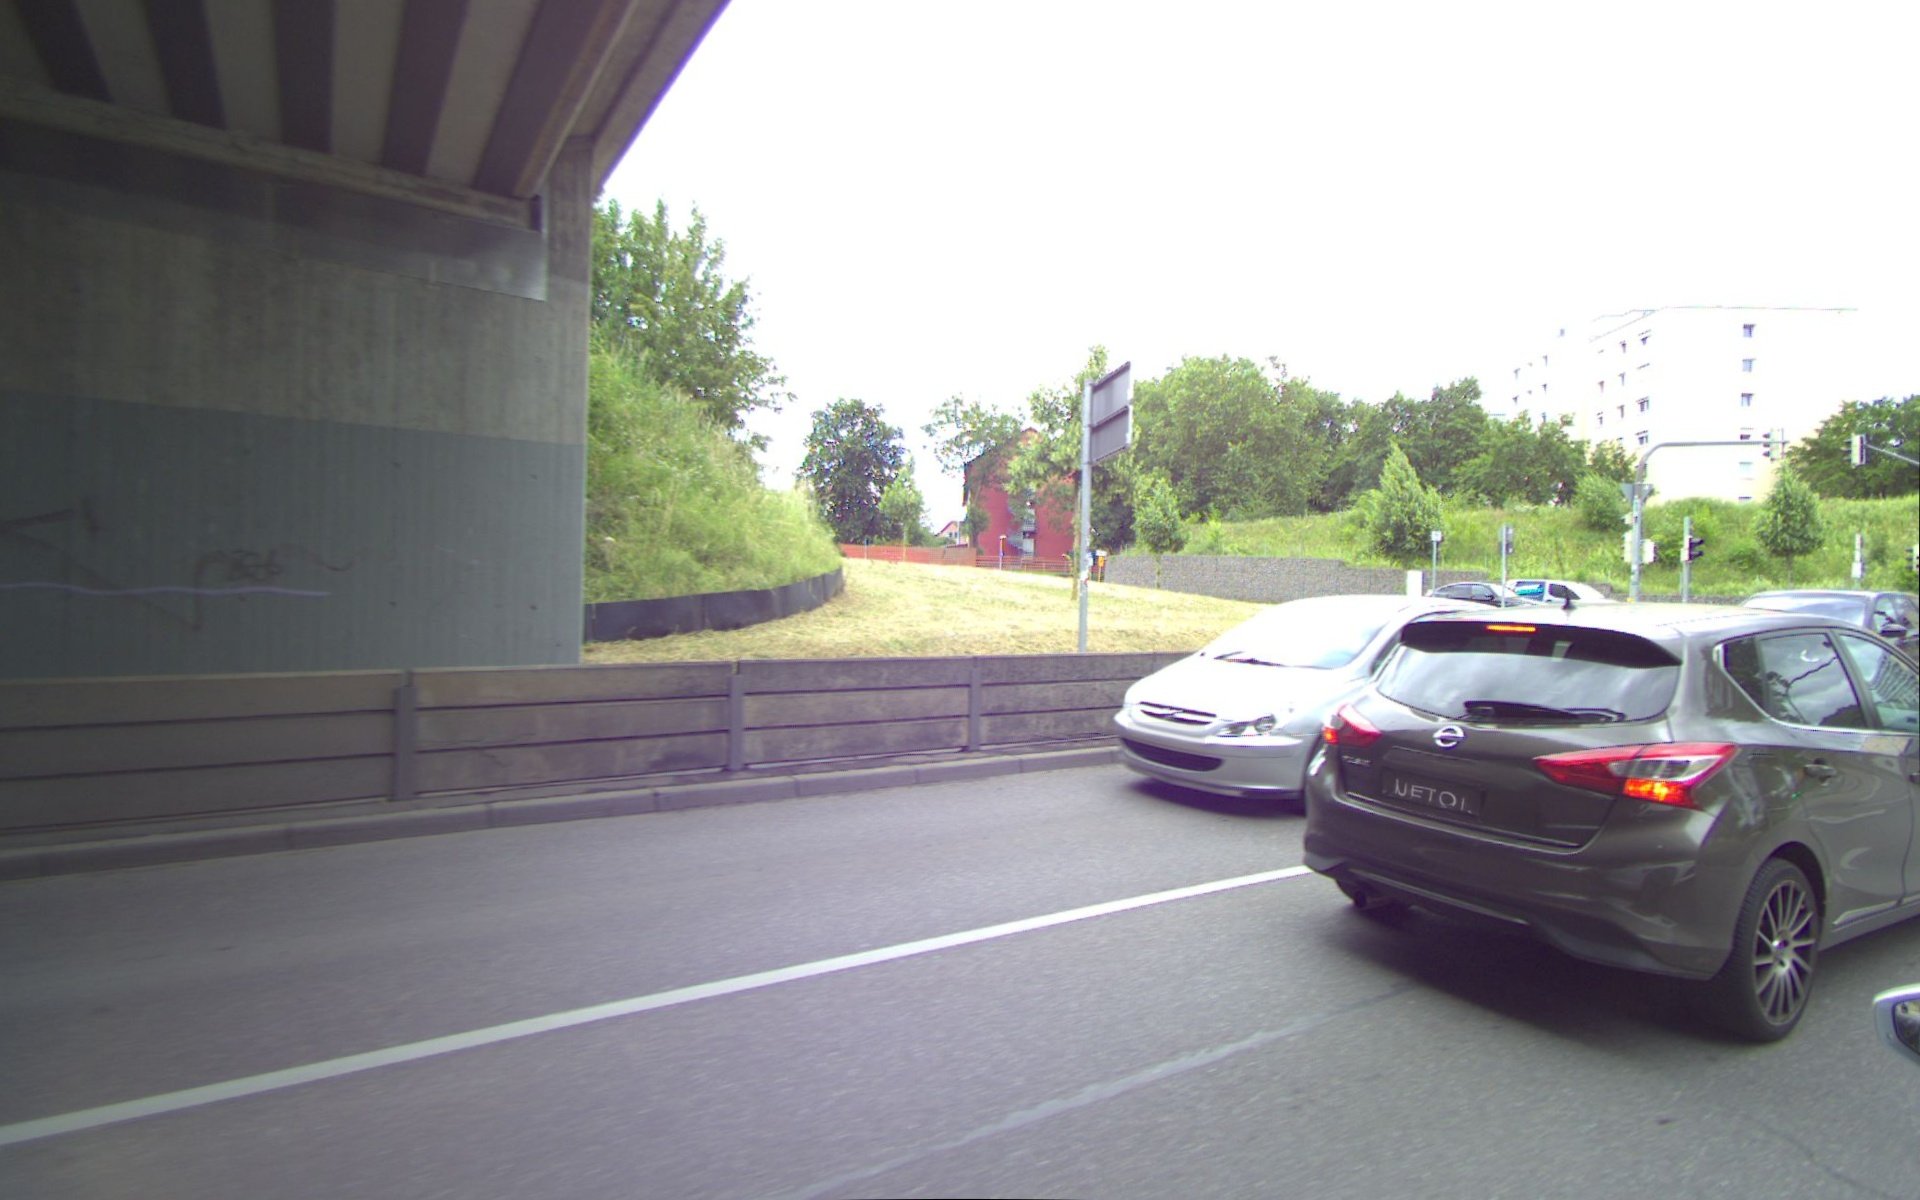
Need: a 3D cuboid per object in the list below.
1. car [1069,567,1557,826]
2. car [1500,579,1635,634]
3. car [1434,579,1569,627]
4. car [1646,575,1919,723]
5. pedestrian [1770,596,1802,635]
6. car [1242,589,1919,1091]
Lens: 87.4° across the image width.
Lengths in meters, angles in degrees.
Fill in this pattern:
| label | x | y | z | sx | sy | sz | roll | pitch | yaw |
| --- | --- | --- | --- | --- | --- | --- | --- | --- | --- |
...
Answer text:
| label | x | y | z | sx | sy | sz | roll | pitch | yaw |
| --- | --- | --- | --- | --- | --- | --- | --- | --- | --- |
| car | 2.952 | 0.617 | 8.117 | 3.960 | 1.613 | 1.751 | 1 | 0 | -35 |
| car | 23.160 | 0.216 | 38.401 | 1.980 | 1.974 | 3.961 | 1 | 0 | -35 |
| car | 19.661 | 0.079 | 36.627 | 1.849 | 1.617 | 3.970 | 1 | 1 | -28 |
| car | 11.399 | 0.587 | 13.512 | 4.118 | 1.720 | 1.984 | 1 | 0 | -30 |
| pedestrian | 35.914 | 0.658 | 43.680 | 0.694 | 1.634 | 0.944 | 0 | 2 | -42 |
| car | 3.472 | 0.765 | 4.849 | 3.954 | 1.513 | 1.835 | 2 | 0 | -31 |
